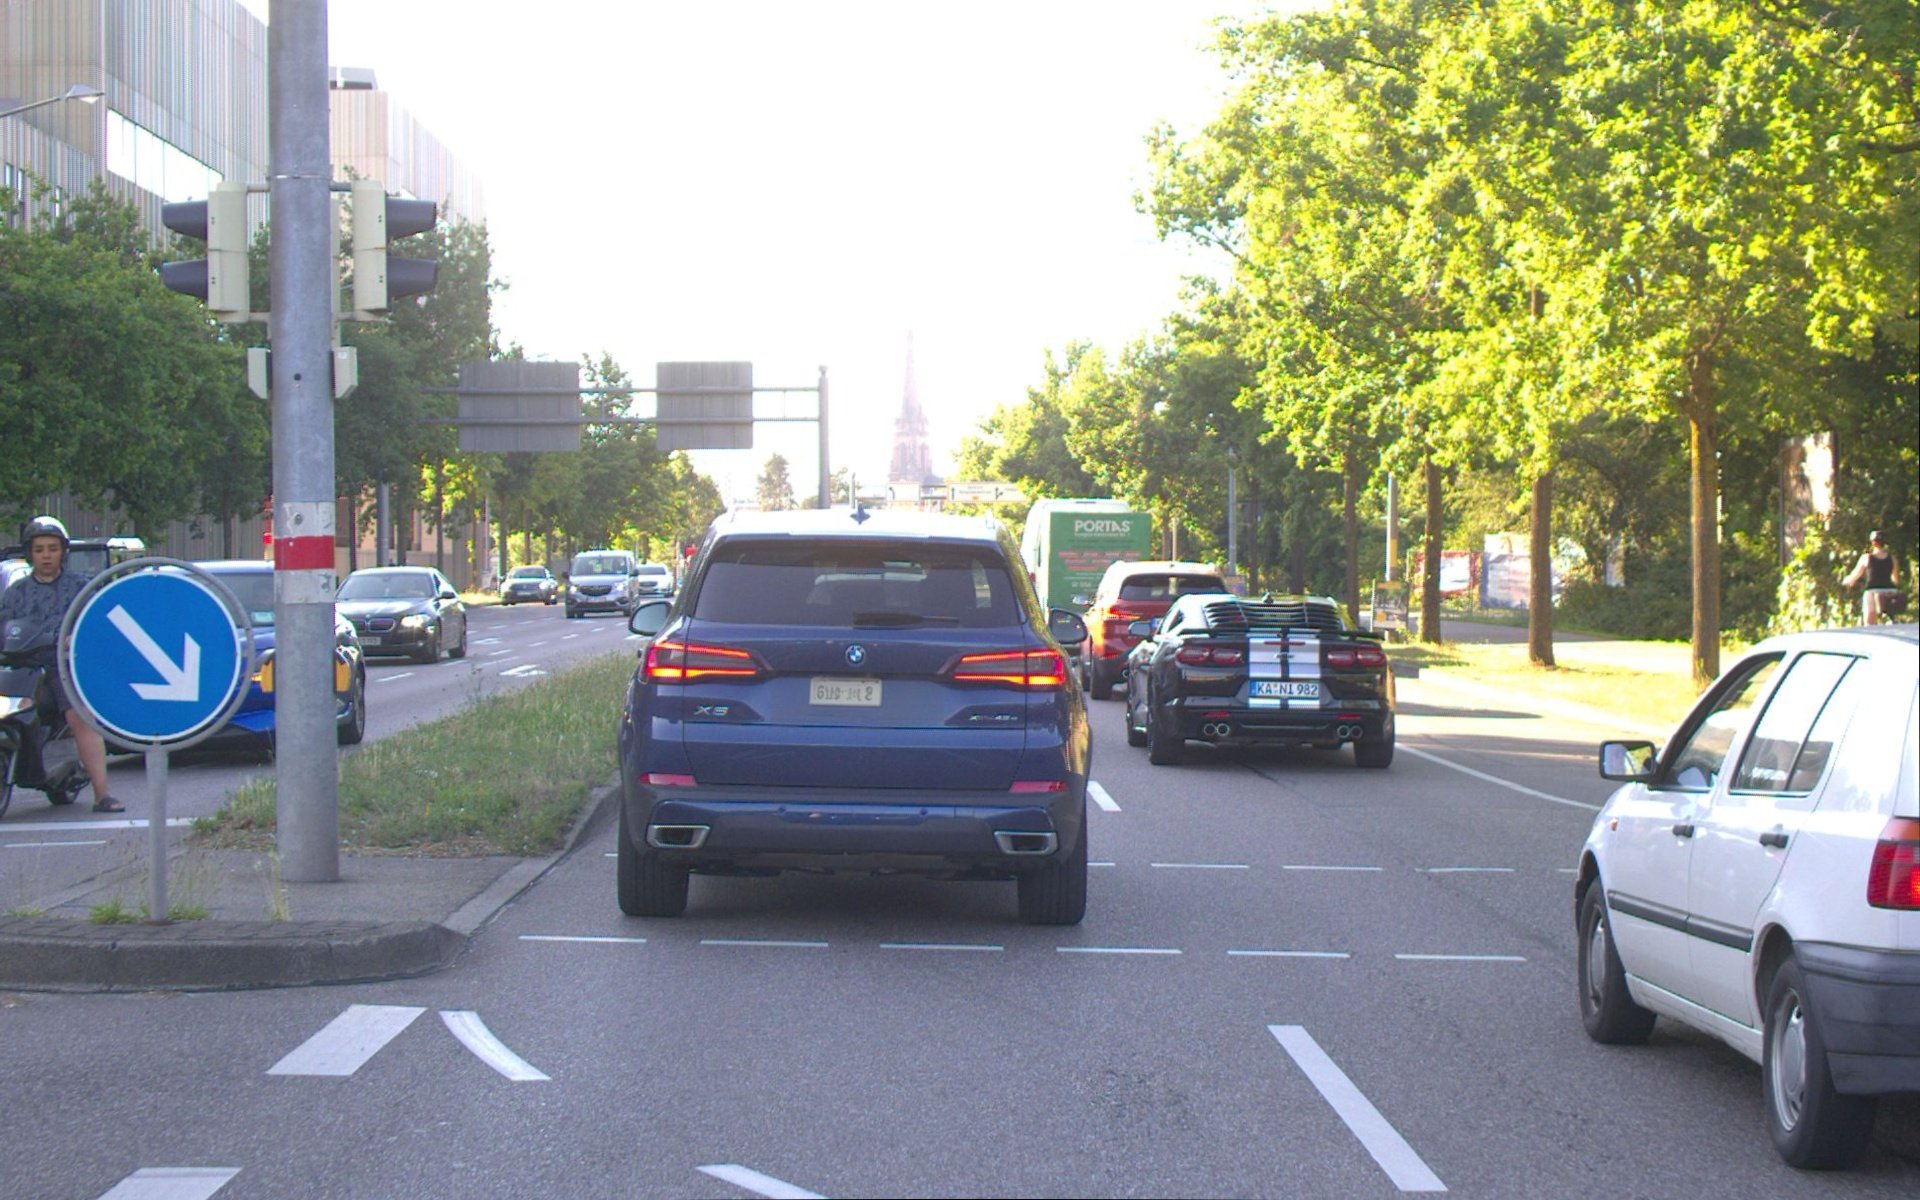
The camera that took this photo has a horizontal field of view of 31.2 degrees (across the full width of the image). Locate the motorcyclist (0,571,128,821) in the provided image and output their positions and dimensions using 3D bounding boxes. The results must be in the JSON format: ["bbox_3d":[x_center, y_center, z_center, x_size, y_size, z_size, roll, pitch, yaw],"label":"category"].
[{"bbox_3d":[-5.275,0.532,19.750,0.797,1.345,1.275,-2,2,-8],"label":"motorcyclist"}]

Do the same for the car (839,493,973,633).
[{"bbox_3d":[-1.099,-0.682,66.957,2.136,2.567,5.088,2,0,-6],"label":"car"}]

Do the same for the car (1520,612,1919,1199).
[{"bbox_3d":[2.844,0.762,10.138,1.578,1.408,4.062,1,0,-2],"label":"car"}]

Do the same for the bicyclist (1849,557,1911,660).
[{"bbox_3d":[11.931,0.106,44.615,0.543,1.311,0.835,1,0,-1],"label":"bicyclist"}]

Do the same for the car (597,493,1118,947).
[{"bbox_3d":[-0.429,0.482,15.726,1.993,1.728,4.533,1,0,-1],"label":"car"}]

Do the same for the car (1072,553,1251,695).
[{"bbox_3d":[2.342,0.282,40.851,1.796,1.553,4.000,1,0,-1],"label":"car"}]

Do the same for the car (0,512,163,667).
[{"bbox_3d":[-12.309,-0.168,47.246,1.794,1.972,3.994,-3,1,-2],"label":"car"}]

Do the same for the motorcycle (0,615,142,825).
[{"bbox_3d":[-5.271,0.660,19.744,0.839,1.072,2.401,-2,1,-7],"label":"motorcycle"}]

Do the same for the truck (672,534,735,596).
[{"bbox_3d":[-18.089,-2.420,243.131,3.988,4.074,11.449,1,0,-2],"label":"truck"}]

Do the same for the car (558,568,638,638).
[{"bbox_3d":[-9.915,0.078,94.448,1.756,1.771,4.494,-4,0,-2],"label":"car"}]

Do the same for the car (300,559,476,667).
[{"bbox_3d":[-8.704,0.203,52.694,1.993,1.447,4.799,-4,0,-2],"label":"car"}]

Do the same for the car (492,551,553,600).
[{"bbox_3d":[-16.452,-0.910,129.444,1.756,1.699,4.494,-4,0,-2],"label":"car"}]

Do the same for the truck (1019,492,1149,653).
[{"bbox_3d":[2.117,-0.451,59.604,1.996,2.659,4.000,1,0,-1],"label":"truck"}]

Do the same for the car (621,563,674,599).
[{"bbox_3d":[-13.800,-0.826,151.826,1.993,1.447,4.715,-4,0,-2],"label":"car"}]

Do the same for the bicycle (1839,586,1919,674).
[{"bbox_3d":[11.918,0.386,44.634,0.564,1.108,1.622,1,0,-1],"label":"bicycle"}]

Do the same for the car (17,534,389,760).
[{"bbox_3d":[-5.524,0.325,25.539,1.702,1.447,3.857,-4,0,2],"label":"car"}]

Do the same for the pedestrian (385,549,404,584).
[{"bbox_3d":[-24.772,-1.482,150.660,0.627,1.516,0.718,1,-1,2],"label":"pedestrian"}]

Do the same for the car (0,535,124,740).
[{"bbox_3d":[-8.503,0.355,28.666,1.993,1.586,4.715,-3,0,-2],"label":"car"}]

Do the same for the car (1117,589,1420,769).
[{"bbox_3d":[2.386,0.597,27.579,1.993,1.290,4.000,1,0,-1],"label":"car"}]

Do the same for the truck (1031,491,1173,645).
[{"bbox_3d":[2.218,-0.483,54.794,1.996,2.307,4.000,1,0,-1],"label":"truck"}]
